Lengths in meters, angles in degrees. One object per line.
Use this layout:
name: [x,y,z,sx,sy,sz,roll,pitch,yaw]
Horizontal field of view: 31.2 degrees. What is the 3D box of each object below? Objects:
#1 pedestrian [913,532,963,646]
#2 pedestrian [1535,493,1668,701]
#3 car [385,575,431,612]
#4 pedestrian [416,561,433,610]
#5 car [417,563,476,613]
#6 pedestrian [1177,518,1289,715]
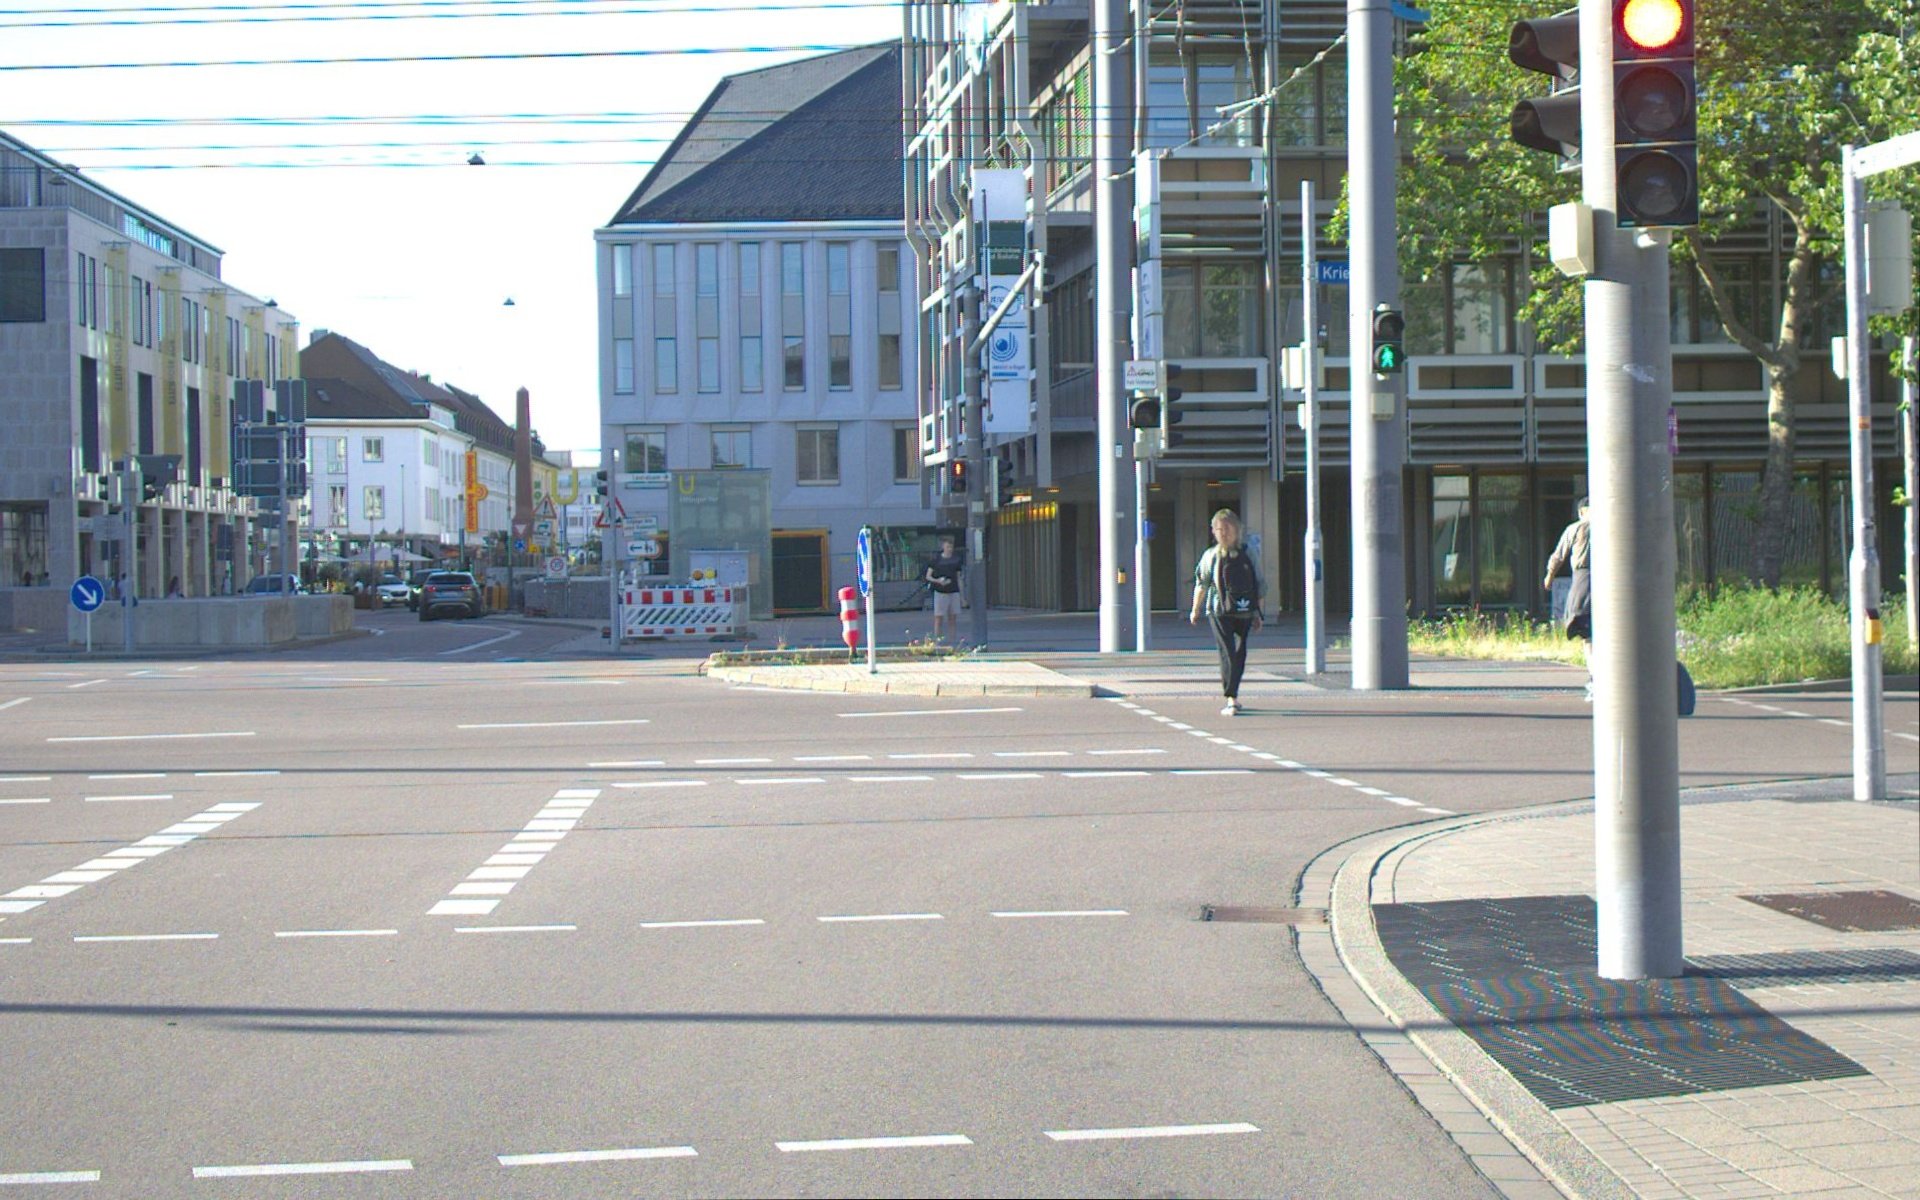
pedestrian: [-0.368,-0.183,57.315,0.788,1.883,0.644,1,0,-1]
pedestrian: [5.246,-0.030,28.166,0.878,1.659,0.965,1,0,-1]
car: [-25.881,-0.320,161.337,1.797,1.652,4.001,1,1,-4]
pedestrian: [-18.225,-0.498,117.017,0.521,1.674,0.583,1,1,-7]
car: [-16.144,-0.380,108.210,1.737,1.525,3.856,1,1,-7]
pedestrian: [2.104,0.124,26.561,0.788,1.487,0.644,1,0,-1]
